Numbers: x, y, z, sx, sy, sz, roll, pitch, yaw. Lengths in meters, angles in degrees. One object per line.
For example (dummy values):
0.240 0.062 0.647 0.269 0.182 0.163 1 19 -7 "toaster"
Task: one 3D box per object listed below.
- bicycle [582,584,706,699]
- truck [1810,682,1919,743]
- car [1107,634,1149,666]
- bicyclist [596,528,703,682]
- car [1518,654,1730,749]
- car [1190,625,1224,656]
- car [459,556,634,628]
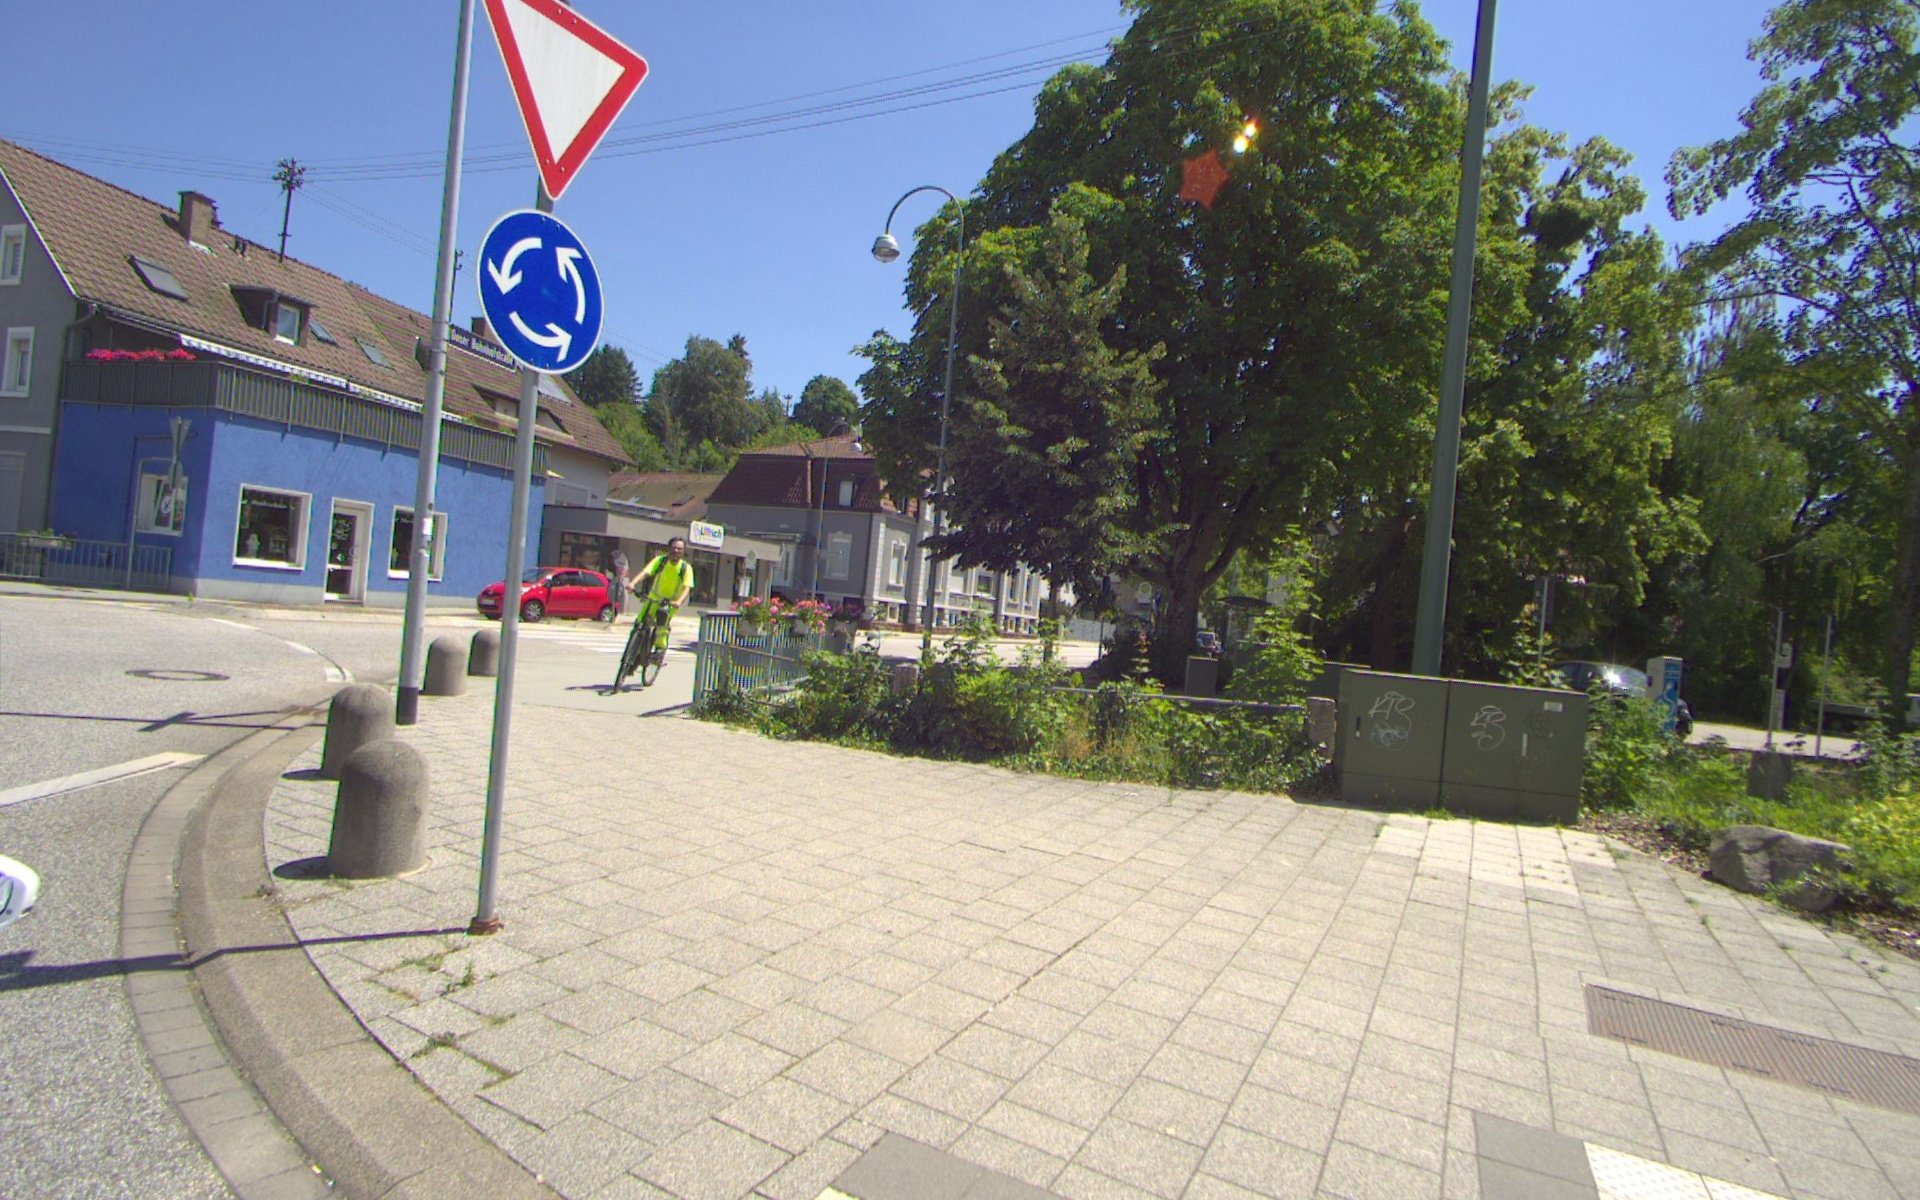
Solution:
-3.656 0.454 11.807 0.795 1.170 1.852 5 0 -1 "bicycle"
46.419 5.689 49.728 2.243 2.471 6.167 8 -2 -32 "truck"
10.701 3.172 63.864 1.708 1.725 4.002 4 -3 22 "car"
-3.614 0.062 11.797 0.795 1.656 1.062 5 1 -1 "bicyclist"
14.859 2.216 22.824 1.809 1.621 3.997 5 0 -5 "car"
20.005 3.291 81.474 1.963 2.037 4.002 7 -2 22 "car"
-10.947 -0.164 26.909 1.803 1.552 3.994 5 -1 28 "car"
